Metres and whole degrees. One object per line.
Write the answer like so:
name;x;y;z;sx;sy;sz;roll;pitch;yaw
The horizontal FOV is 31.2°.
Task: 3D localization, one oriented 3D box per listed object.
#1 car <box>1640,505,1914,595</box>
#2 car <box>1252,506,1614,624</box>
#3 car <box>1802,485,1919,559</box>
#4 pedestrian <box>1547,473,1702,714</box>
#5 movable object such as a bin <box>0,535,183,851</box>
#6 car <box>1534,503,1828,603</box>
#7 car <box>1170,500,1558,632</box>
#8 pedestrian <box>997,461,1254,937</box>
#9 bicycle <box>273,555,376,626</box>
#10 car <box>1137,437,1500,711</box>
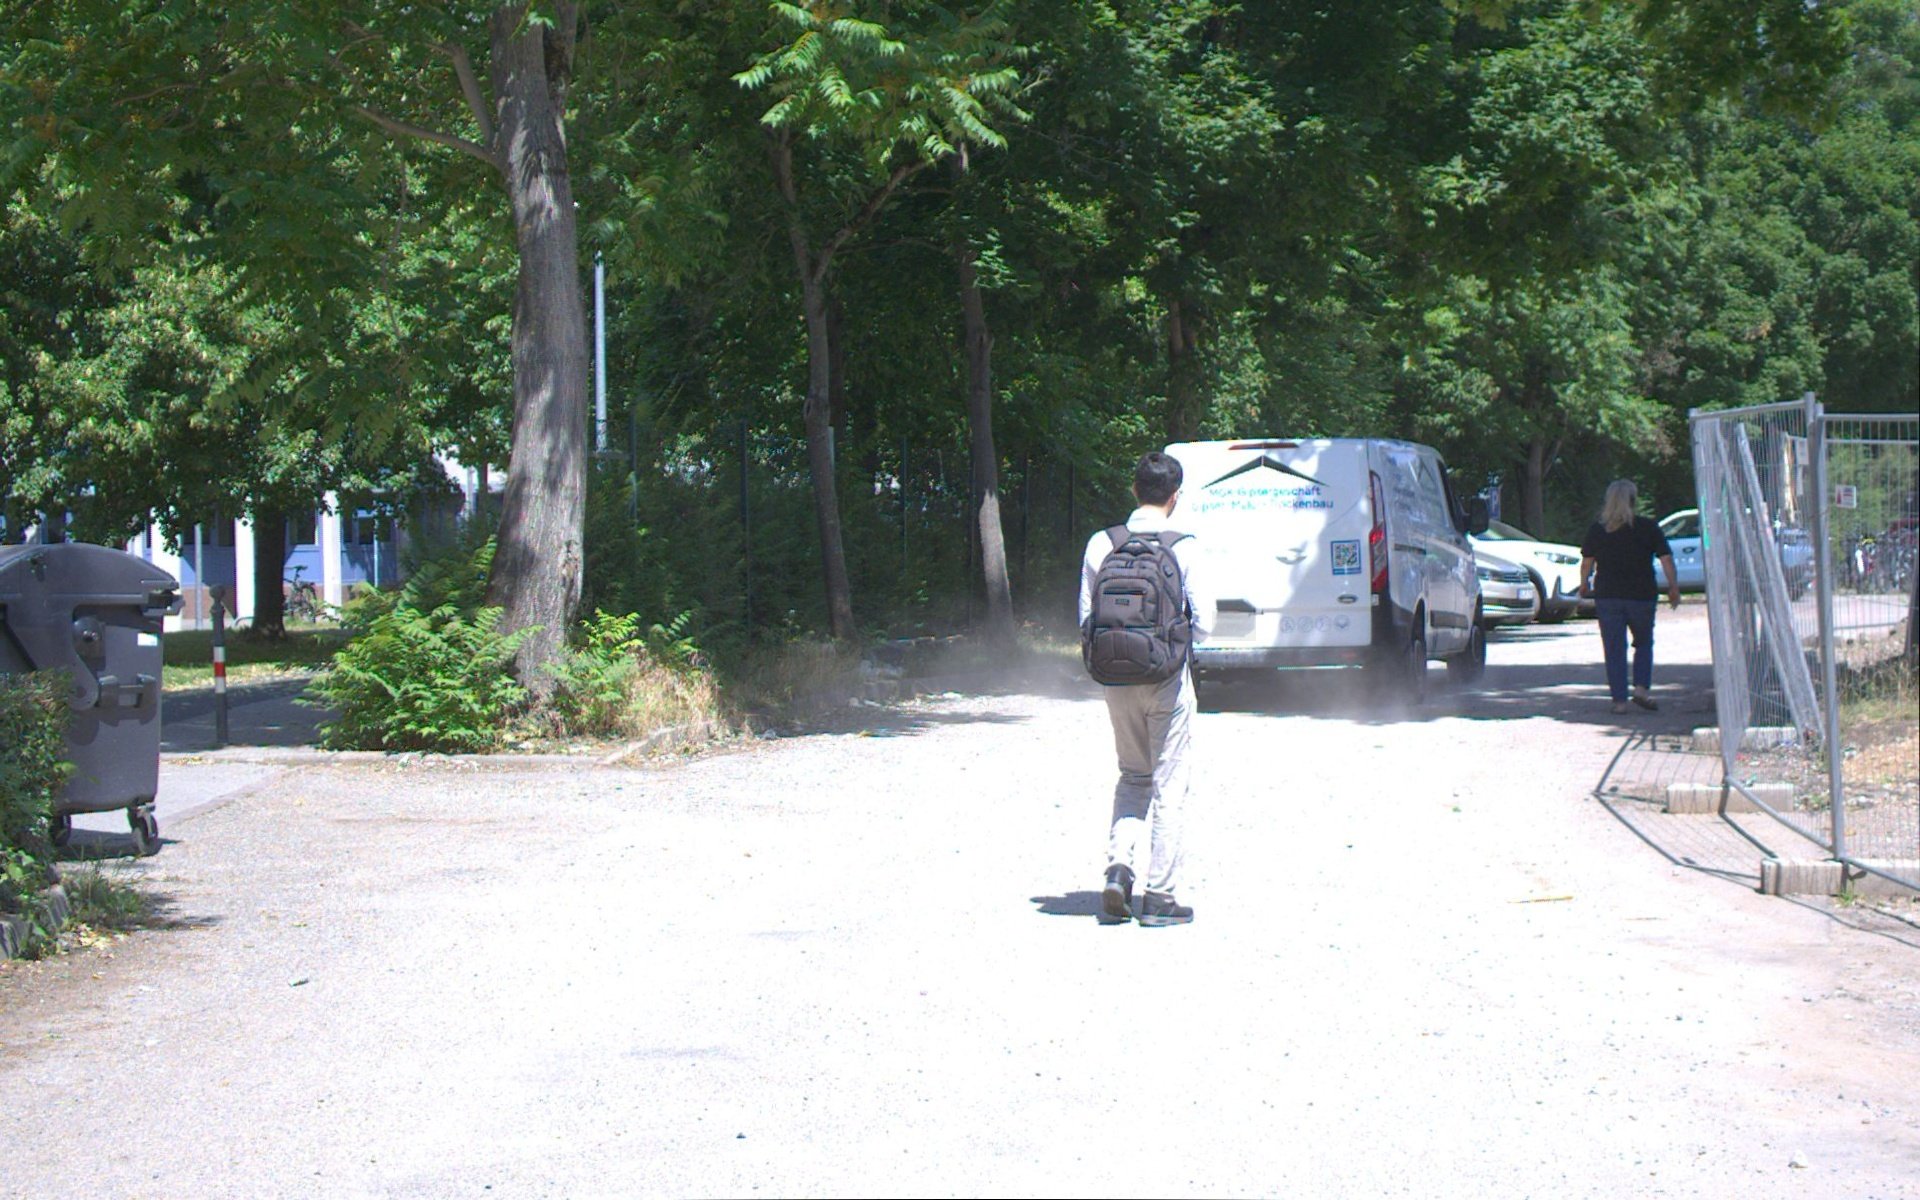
car;14.844;-0.916;62.520;4.512;1.592;1.934;0;2;28
car;6.354;-0.483;46.239;4.512;1.526;1.723;0;2;27
car;21.110;-1.746;76.098;4.512;1.592;1.723;0;2;27
pedestrian;4.669;-0.062;24.106;1.036;1.644;1.048;0;2;12
movable object such as a bin;-4.387;0.405;15.926;1.113;1.389;1.160;-2;2;-39
car;12.035;-0.801;57.461;4.512;1.592;1.723;0;2;27
car;5.159;-0.422;44.008;4.512;1.604;1.997;0;-1;28
pedestrian;0.646;0.342;13.020;0.874;1.723;1.080;0;2;7
bicycle;-10.589;-0.171;57.352;0.600;1.080;1.937;6;4;25
car;2.898;-0.244;26.802;1.974;1.940;4.577;0;2;17
